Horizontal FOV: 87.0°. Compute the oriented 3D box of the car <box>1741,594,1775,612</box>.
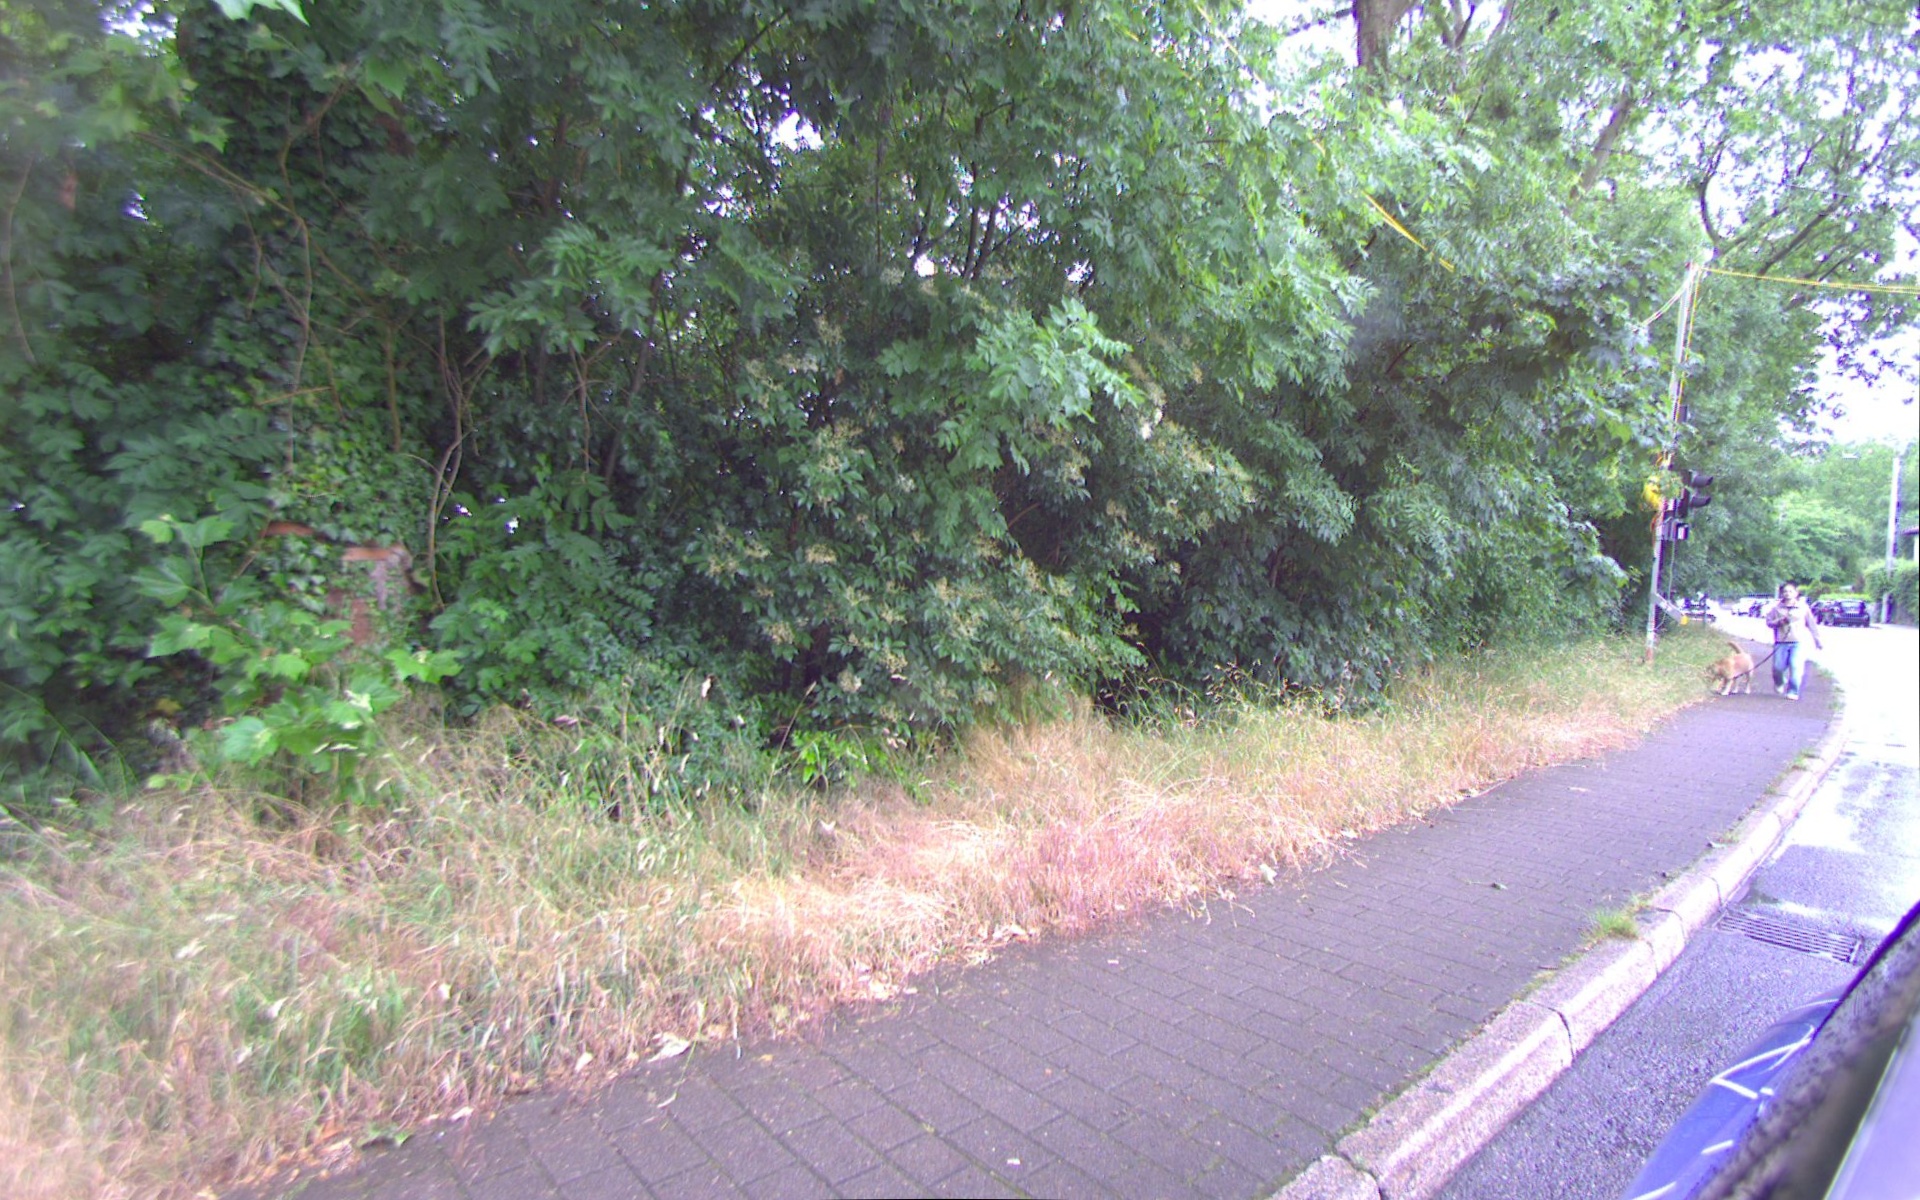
[{"bbox_3d":[64.951,0.208,82.373,1.676,1.445,3.734,1,1,31],"label":"car"}]

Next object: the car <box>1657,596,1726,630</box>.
[{"bbox_3d":[43.355,0.728,60.116,2.079,1.943,5.053,0,0,22],"label":"car"}]

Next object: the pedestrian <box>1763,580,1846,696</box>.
[{"bbox_3d":[11.626,0.497,13.932,0.771,1.517,0.734,0,2,-42],"label":"pedestrian"}]

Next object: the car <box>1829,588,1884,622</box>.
[{"bbox_3d":[51.068,0.274,57.709,1.869,1.848,4.075,1,1,35],"label":"car"}]

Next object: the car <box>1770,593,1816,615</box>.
[{"bbox_3d":[60.757,0.287,73.921,2.055,1.504,4.508,1,1,33],"label":"car"}]
